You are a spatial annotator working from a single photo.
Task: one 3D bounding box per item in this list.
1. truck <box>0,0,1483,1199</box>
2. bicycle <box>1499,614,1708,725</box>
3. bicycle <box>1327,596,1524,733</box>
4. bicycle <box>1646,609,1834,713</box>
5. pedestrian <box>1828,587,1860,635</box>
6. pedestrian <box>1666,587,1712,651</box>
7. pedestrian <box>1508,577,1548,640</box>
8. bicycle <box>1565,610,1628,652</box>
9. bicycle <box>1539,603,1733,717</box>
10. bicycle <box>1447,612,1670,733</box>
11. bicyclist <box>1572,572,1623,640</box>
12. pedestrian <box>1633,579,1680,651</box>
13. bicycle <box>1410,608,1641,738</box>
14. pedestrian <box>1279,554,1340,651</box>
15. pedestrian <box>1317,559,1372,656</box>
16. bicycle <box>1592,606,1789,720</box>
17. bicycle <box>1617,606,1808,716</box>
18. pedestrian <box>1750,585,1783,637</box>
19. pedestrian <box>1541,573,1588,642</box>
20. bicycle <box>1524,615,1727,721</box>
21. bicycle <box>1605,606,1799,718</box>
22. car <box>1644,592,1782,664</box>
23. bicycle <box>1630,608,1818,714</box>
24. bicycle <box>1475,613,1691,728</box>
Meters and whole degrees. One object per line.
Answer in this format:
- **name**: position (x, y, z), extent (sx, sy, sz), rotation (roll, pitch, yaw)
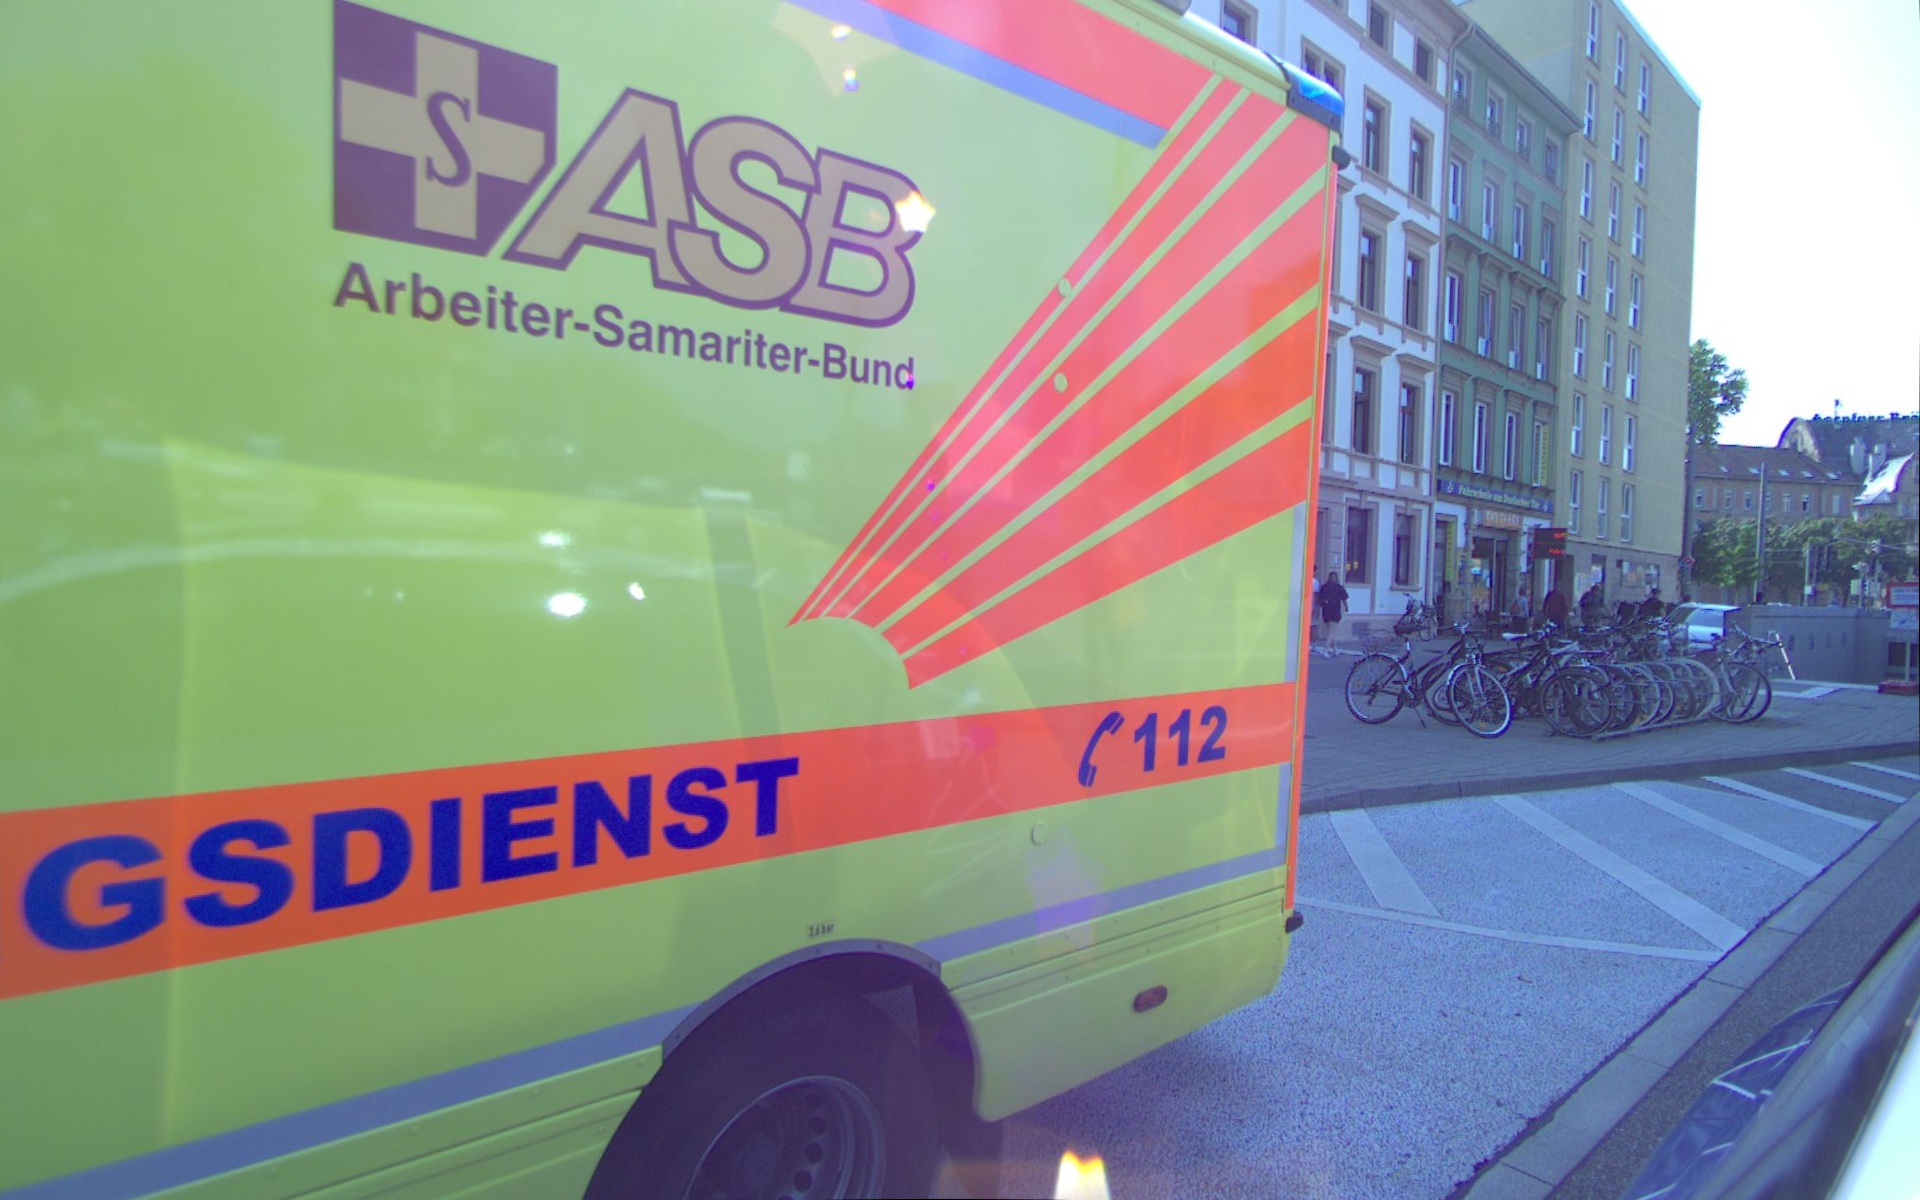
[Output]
- **truck**: position (-1.999, -0.108, 1.457), extent (6.221, 2.803, 2.336), rotation (0, 4, -38)
- **bicycle**: position (7.034, 0.710, 11.148), extent (0.645, 1.074, 1.841), rotation (1, 0, -40)
- **bicycle**: position (4.493, 0.570, 9.848), extent (0.678, 1.200, 1.607), rotation (1, 0, -39)
- **bicycle**: position (10.089, 0.743, 13.147), extent (0.626, 1.219, 1.841), rotation (1, 0, -39)
- **pedestrian**: position (31.098, 0.383, 35.599), extent (0.782, 1.648, 0.646), rotation (1, 2, -37)
- **pedestrian**: position (19.341, 0.488, 26.853), extent (0.780, 1.648, 0.647), rotation (1, 2, -27)
- **pedestrian**: position (15.425, 0.220, 27.476), extent (0.782, 1.648, 0.645), rotation (1, 2, -39)
- **bicycle**: position (15.530, 0.744, 24.679), extent (1.965, 0.965, 0.721), rotation (1, 1, -40)
- **bicycle**: position (7.978, 0.664, 12.026), extent (0.539, 1.219, 1.841), rotation (1, 0, -40)
- **bicycle**: position (6.022, 0.677, 10.269), extent (0.645, 1.074, 1.841), rotation (1, 0, -40)
- **bicyclist**: position (15.538, 0.139, 24.673), extent (1.083, 1.606, 0.721), rotation (1, 1, -40)
- **pedestrian**: position (17.888, 0.378, 25.982), extent (0.781, 1.780, 0.689), rotation (1, 2, -35)
- **bicycle**: position (5.373, 0.644, 9.707), extent (0.686, 1.089, 1.806), rotation (1, 0, -40)
- **pedestrian**: position (6.864, 0.042, 19.854), extent (0.913, 1.826, 0.726), rotation (1, 2, -44)
- **pedestrian**: position (7.361, 0.130, 19.354), extent (0.784, 1.793, 0.644), rotation (1, 2, -45)
- **bicycle**: position (8.564, 0.696, 11.945), extent (0.427, 1.219, 1.841), rotation (1, 0, -40)
- **bicycle**: position (9.245, 0.712, 12.506), extent (0.427, 1.235, 1.841), rotation (1, 0, -40)
- **pedestrian**: position (26.404, 0.358, 33.131), extent (0.782, 1.648, 0.645), rotation (1, 2, -39)
- **pedestrian**: position (15.909, 0.187, 26.638), extent (0.867, 1.755, 0.771), rotation (1, 2, -43)
- **bicycle**: position (7.565, 0.732, 11.583), extent (0.645, 1.070, 1.841), rotation (1, 0, -40)
- **bicycle**: position (8.900, 0.704, 12.212), extent (0.427, 1.219, 1.841), rotation (1, 0, -40)
- **car**: position (17.817, 0.624, 23.900), extent (3.863, 1.444, 1.667), rotation (1, 4, -40)
- **bicycle**: position (9.612, 0.726, 12.800), extent (0.427, 1.219, 1.841), rotation (1, 0, -40)
- **bicycle**: position (6.541, 0.690, 10.717), extent (0.645, 1.066, 1.841), rotation (1, 0, -40)
